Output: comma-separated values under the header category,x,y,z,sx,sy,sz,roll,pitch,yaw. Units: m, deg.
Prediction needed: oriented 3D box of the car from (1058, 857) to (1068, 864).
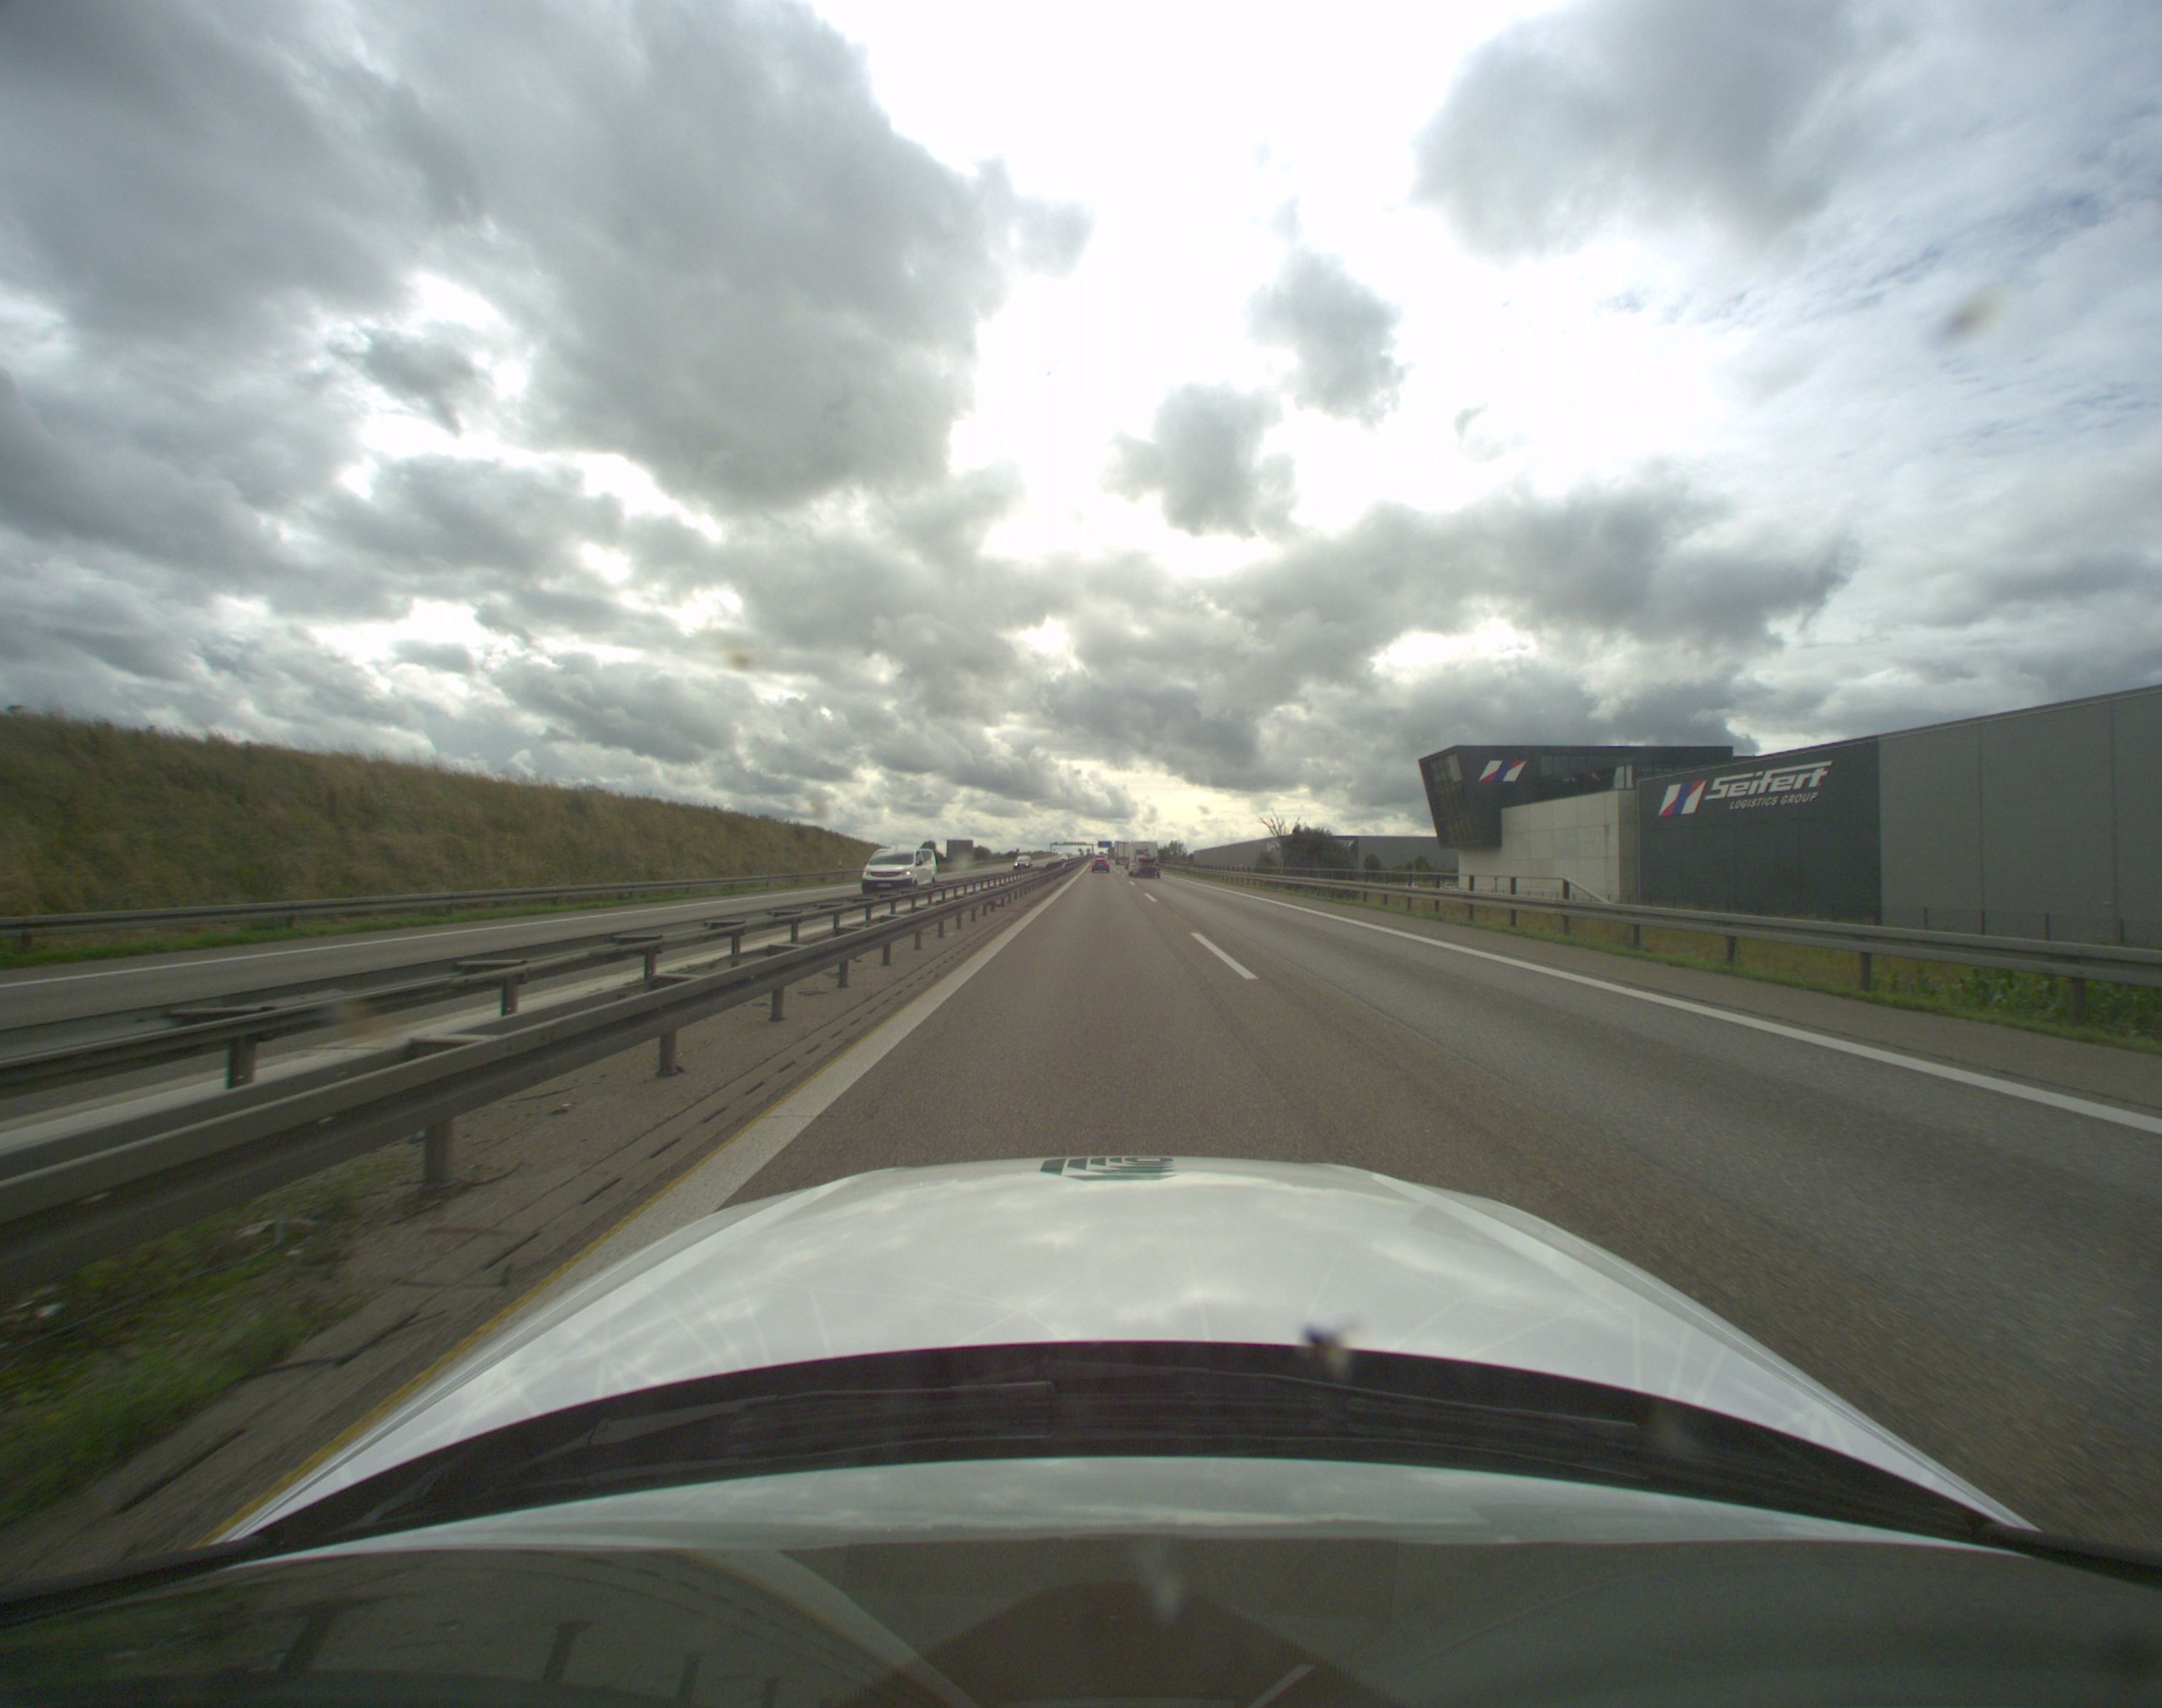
category,x,y,z,sx,sy,sz,roll,pitch,yaw
car,-3.879,1.445,176.554,1.899,1.513,4.730,0,-1,1

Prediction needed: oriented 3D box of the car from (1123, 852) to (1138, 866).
category,x,y,z,sx,sy,sz,roll,pitch,yaw
car,6.137,0.609,101.545,1.793,1.685,4.003,0,-1,3

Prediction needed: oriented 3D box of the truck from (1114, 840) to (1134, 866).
category,x,y,z,sx,sy,sz,roll,pitch,yaw
truck,7.621,-0.127,144.755,3.327,4.534,8.019,0,-1,2

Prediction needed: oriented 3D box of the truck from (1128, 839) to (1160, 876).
category,x,y,z,sx,sy,sz,roll,pitch,yaw
truck,5.250,0.329,68.984,2.472,2.950,5.817,0,-1,2

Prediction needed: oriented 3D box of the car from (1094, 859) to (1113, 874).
category,x,y,z,sx,sy,sz,roll,pitch,yaw
car,2.246,1.283,81.796,1.738,1.453,4.004,0,-1,4

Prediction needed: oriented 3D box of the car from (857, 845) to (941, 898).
category,x,y,z,sx,sy,sz,roll,pitch,yaw
car,-6.889,0.665,31.468,1.821,1.885,5.421,0,-1,2

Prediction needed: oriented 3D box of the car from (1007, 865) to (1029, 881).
category,x,y,z,sx,sy,sz,roll,pitch,yaw
car,-6.461,1.945,84.318,1.834,1.576,4.001,0,-1,2

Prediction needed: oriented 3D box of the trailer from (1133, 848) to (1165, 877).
category,x,y,z,sx,sy,sz,roll,pitch,yaw
trailer,5.101,0.650,61.796,2.328,2.136,4.004,0,-1,4
